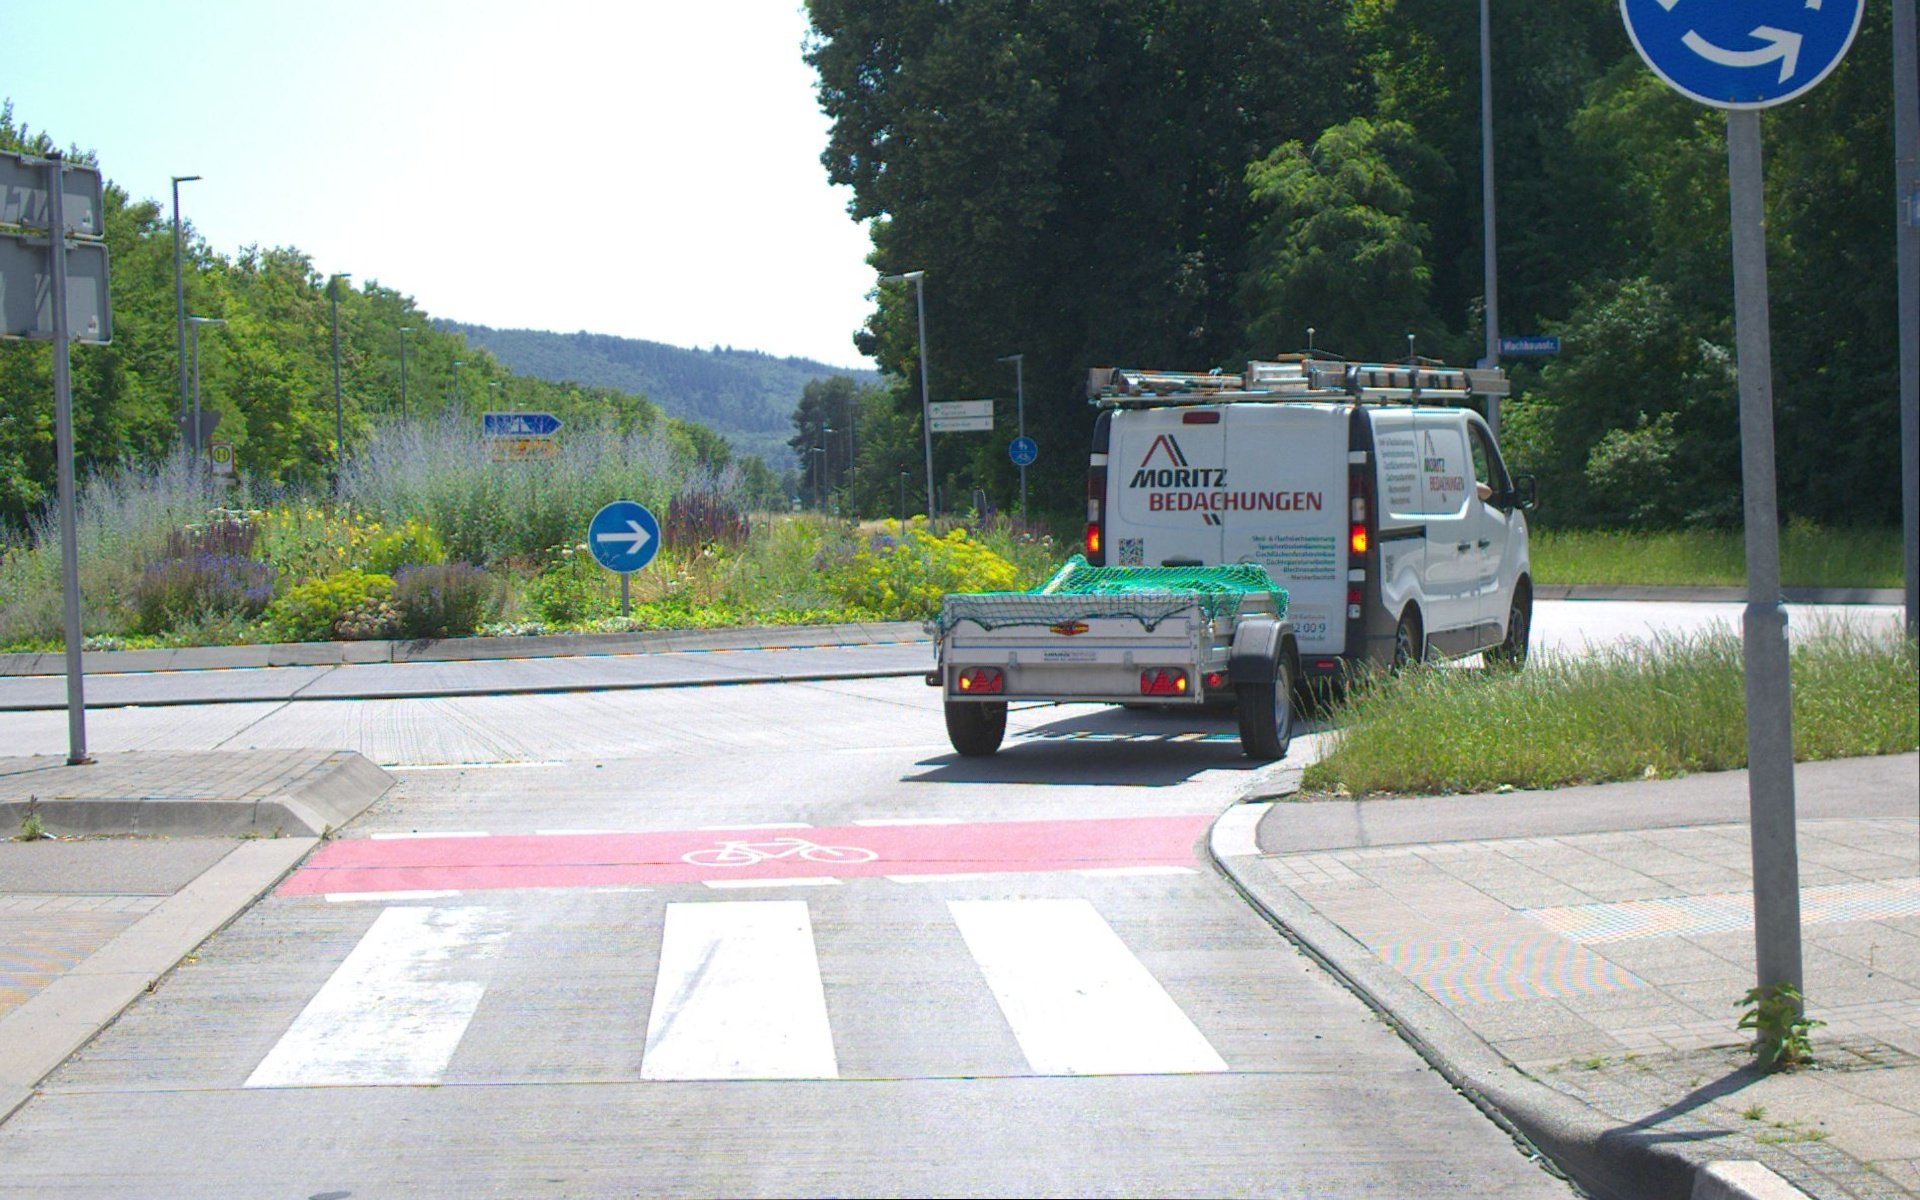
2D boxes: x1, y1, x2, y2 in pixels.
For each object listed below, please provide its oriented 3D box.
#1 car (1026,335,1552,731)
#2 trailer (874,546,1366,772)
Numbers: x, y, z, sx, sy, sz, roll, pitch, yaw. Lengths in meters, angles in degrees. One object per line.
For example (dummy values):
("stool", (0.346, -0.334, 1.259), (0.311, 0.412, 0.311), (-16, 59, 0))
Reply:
("car", (2.327, -0.448, 22.774), (2.168, 2.308, 4.976), (0, 1, 21))
("trailer", (0.984, 0.276, 18.981), (2.122, 1.093, 3.353), (0, 1, 13))
